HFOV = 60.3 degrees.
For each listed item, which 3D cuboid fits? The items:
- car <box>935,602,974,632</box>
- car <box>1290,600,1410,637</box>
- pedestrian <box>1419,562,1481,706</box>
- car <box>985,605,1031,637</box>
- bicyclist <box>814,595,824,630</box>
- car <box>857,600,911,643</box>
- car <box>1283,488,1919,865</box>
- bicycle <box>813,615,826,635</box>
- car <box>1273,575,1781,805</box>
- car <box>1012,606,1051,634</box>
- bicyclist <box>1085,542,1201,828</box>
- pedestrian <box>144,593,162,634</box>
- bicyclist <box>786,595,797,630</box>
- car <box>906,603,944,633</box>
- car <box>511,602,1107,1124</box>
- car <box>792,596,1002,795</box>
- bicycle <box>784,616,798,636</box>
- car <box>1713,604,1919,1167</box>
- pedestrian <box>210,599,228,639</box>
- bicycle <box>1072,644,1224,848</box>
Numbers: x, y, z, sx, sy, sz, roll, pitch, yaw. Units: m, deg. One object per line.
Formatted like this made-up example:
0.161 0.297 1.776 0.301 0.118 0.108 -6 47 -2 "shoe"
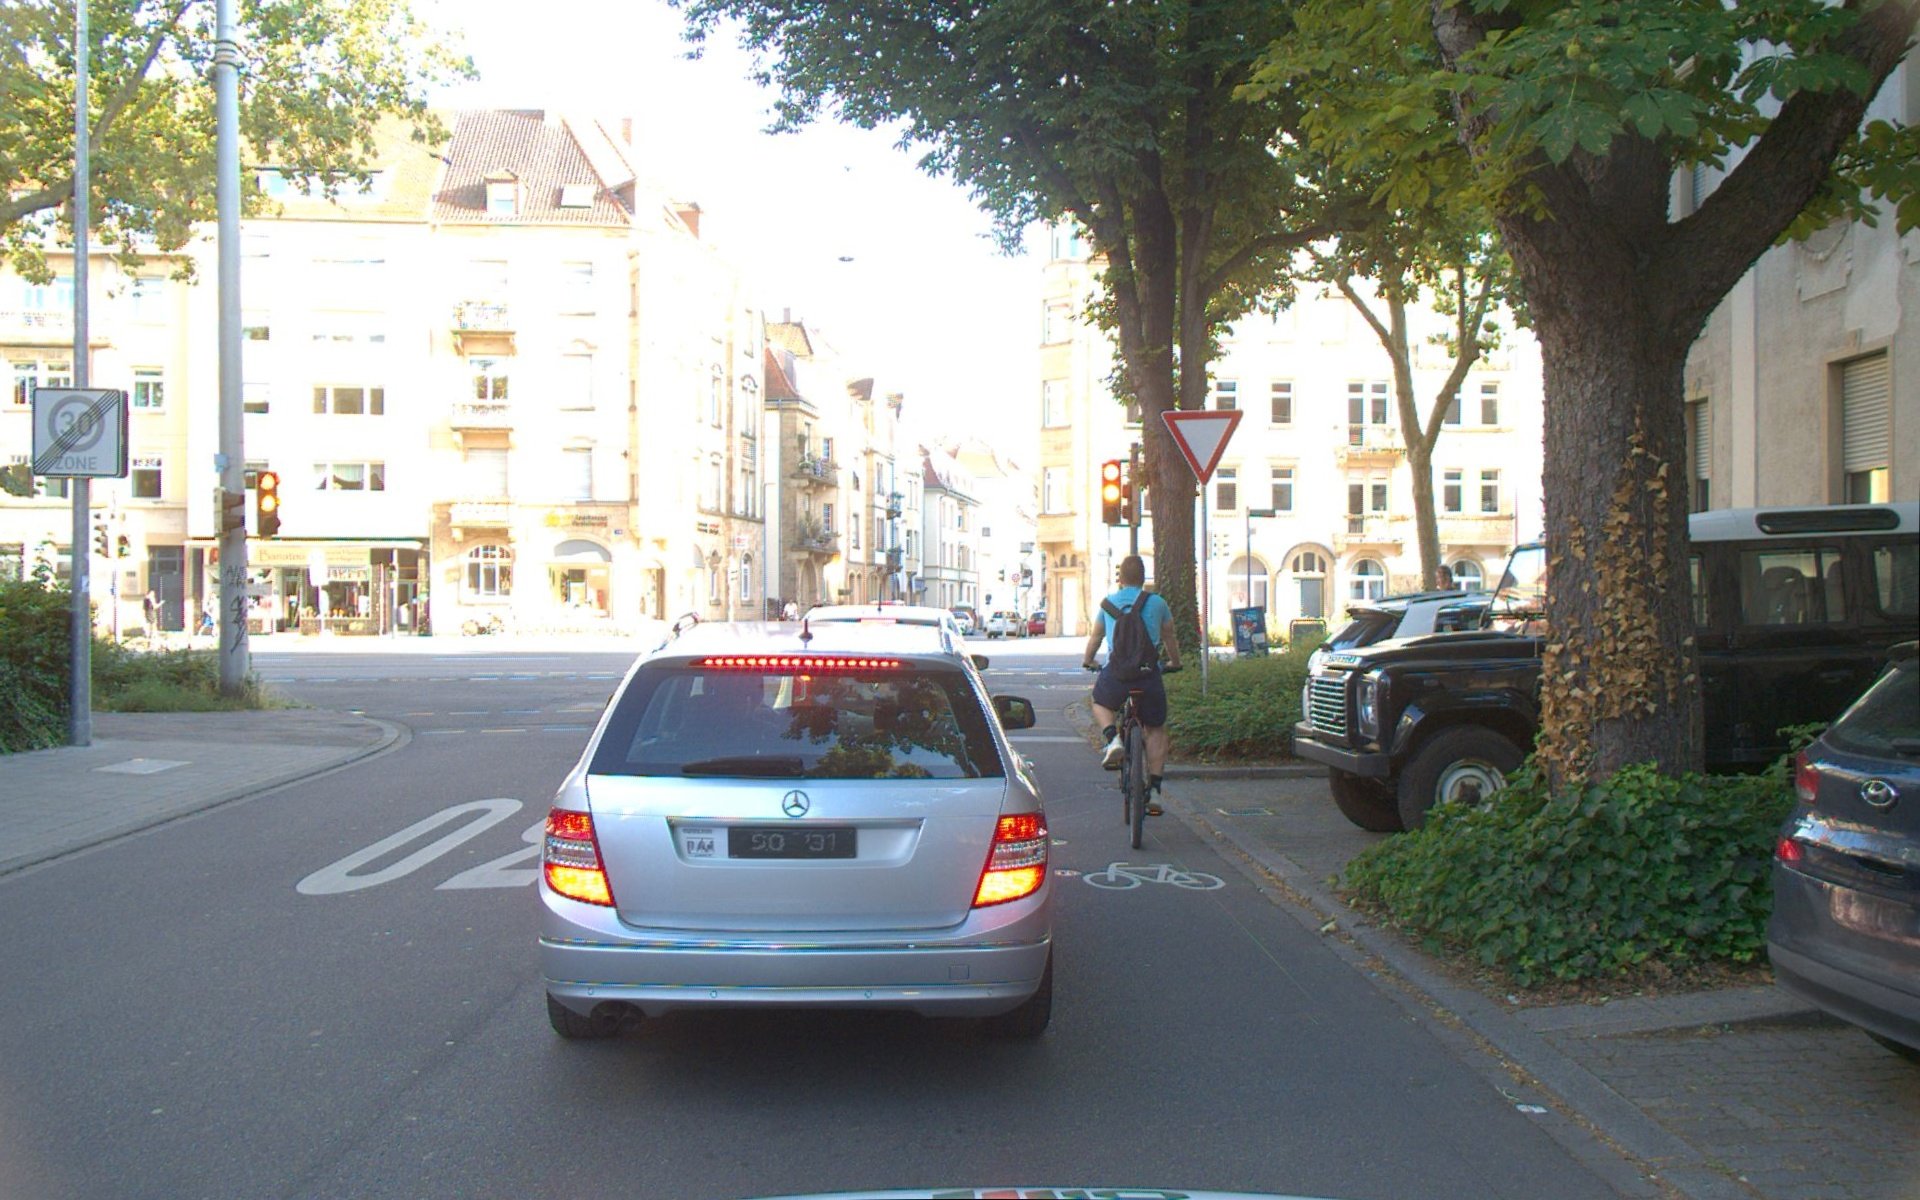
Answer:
-0.302 0.977 98.055 1.650 1.753 4.003 0 0 10 "car"
11.814 0.564 50.182 3.296 1.087 1.380 0 0 -2 "car"
6.484 0.439 21.915 0.619 1.877 0.574 0 0 -5 "pedestrian"
2.495 1.056 85.866 1.684 1.504 4.004 -2 0 11 "car"
-6.244 0.568 73.297 0.457 1.547 0.693 0 0 -4 "bicyclist"
-3.648 1.005 79.714 1.896 1.993 4.153 0 0 7 "car"
4.421 0.398 10.235 4.402 1.990 1.791 -2 0 -4 "car"
-6.234 1.120 73.232 0.557 0.849 1.564 0 0 -4 "bicycle"
4.427 0.654 13.193 3.415 1.614 1.708 -1 0 -7 "car"
4.441 1.198 102.126 1.684 1.503 4.004 -4 0 11 "car"
1.192 0.539 10.900 0.633 1.806 0.830 1 -1 -1 "bicyclist"
-30.571 0.500 62.658 0.557 1.537 0.499 0 0 -20 "pedestrian"
-7.460 0.569 73.129 0.457 1.541 0.655 0 0 -4 "bicyclist"
-2.128 1.102 102.307 1.615 1.814 3.866 0 -1 10 "car"
-0.517 0.755 6.436 1.657 1.454 3.490 1 0 -3 "car"
-0.522 0.682 13.702 1.502 1.415 3.597 0 0 -2 "car"
-7.458 1.123 73.033 0.557 0.849 1.564 0 0 -4 "bicycle"
4.287 0.686 4.546 3.675 1.446 1.627 -2 -1 -4 "car"
-28.634 0.714 63.935 0.498 1.537 0.536 0 0 -5 "pedestrian"
1.189 0.899 10.864 0.727 1.137 2.013 1 0 -1 "bicycle"
